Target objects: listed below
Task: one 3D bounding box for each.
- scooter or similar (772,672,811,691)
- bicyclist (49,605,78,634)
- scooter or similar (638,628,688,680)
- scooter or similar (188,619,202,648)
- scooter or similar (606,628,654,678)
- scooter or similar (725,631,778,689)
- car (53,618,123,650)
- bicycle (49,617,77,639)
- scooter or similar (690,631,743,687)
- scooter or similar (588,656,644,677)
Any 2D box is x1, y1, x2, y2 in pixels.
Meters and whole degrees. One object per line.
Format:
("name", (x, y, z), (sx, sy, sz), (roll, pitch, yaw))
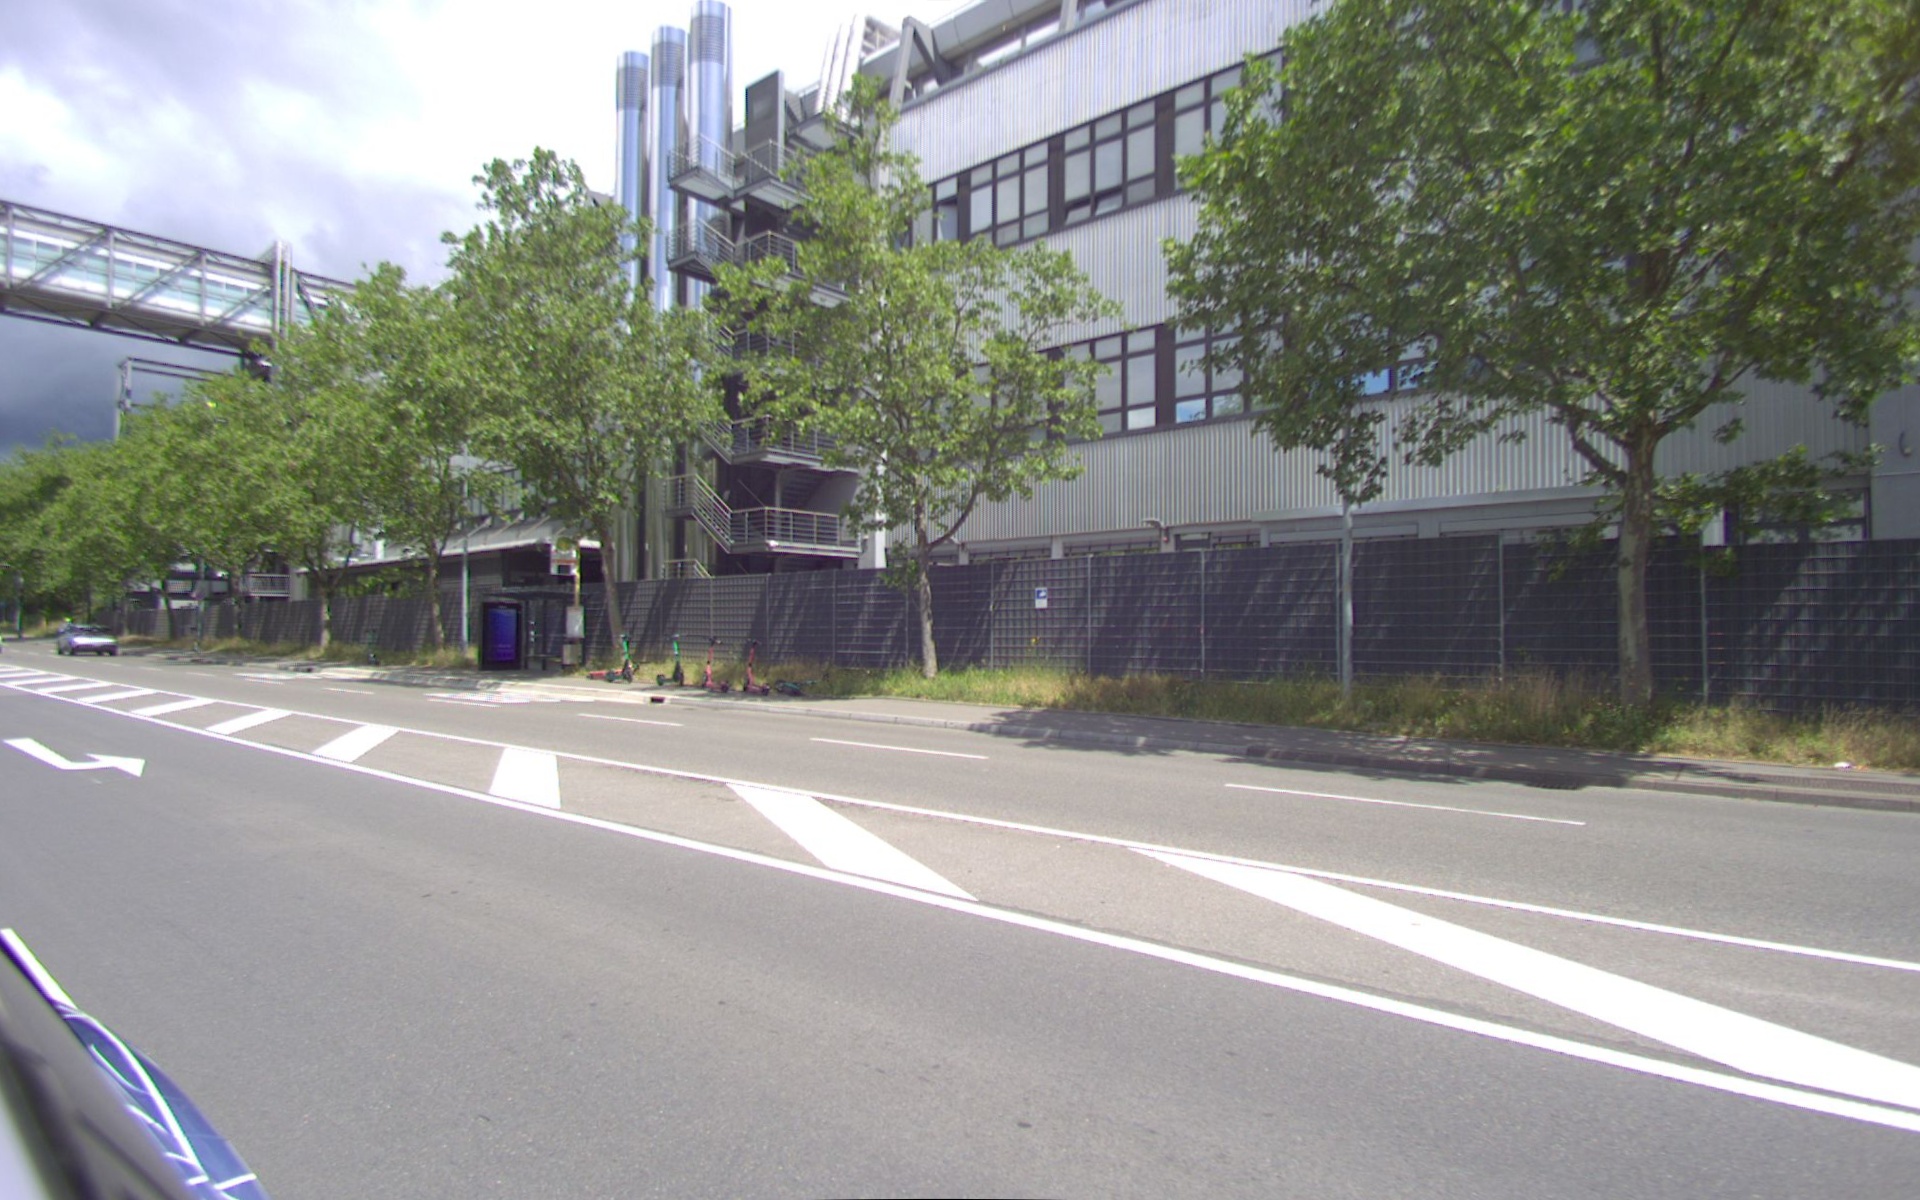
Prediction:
("scooter or similar", (-3.770, 1.818, 22.654), (0.529, 0.325, 1.276), (0, -1, -25))
("bicyclist", (-52.226, 1.134, 58.960), (1.221, 1.610, 0.947), (0, -4, 37))
("scooter or similar", (-7.391, 1.332, 25.171), (1.316, 1.244, 0.518), (-2, 0, 39))
("scooter or similar", (-38.292, 1.681, 50.660), (1.234, 1.414, 0.300), (0, 0, 40))
("scooter or similar", (-8.540, 1.355, 26.175), (1.316, 1.244, 0.518), (-2, 0, 39))
("scooter or similar", (-4.707, 1.338, 22.789), (0.517, 1.244, 1.319), (-2, 0, -44))
("car", (-42.891, 1.671, 49.745), (4.186, 1.517, 1.859), (-1, -4, 40))
("bicycle", (-52.216, 1.614, 58.922), (2.470, 1.244, 0.729), (0, -3, 38))
("scooter or similar", (-5.721, 1.373, 23.727), (1.317, 1.244, 0.517), (-2, 0, 42))
("scooter or similar", (-9.334, 1.800, 27.541), (1.341, 0.383, 1.494), (-2, 1, -15))
